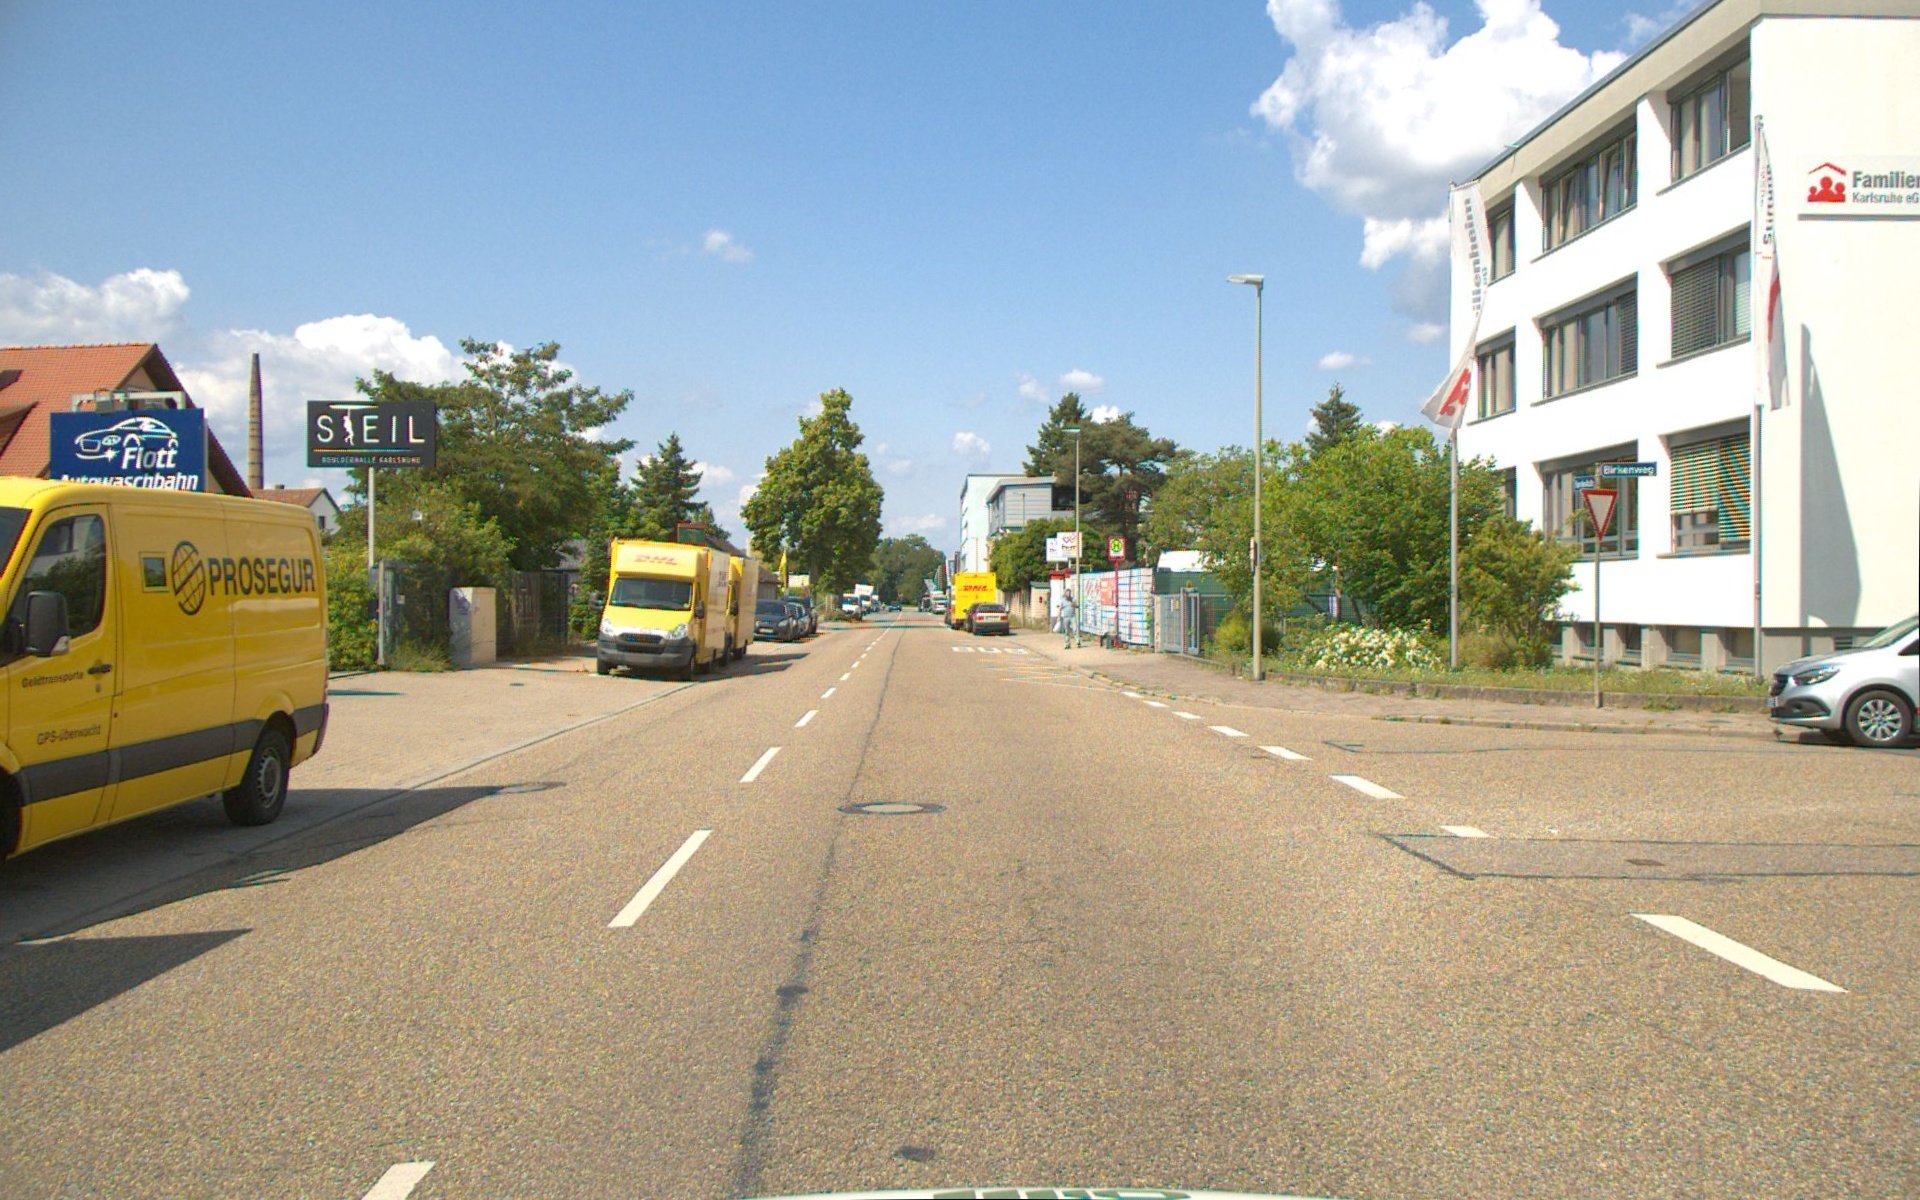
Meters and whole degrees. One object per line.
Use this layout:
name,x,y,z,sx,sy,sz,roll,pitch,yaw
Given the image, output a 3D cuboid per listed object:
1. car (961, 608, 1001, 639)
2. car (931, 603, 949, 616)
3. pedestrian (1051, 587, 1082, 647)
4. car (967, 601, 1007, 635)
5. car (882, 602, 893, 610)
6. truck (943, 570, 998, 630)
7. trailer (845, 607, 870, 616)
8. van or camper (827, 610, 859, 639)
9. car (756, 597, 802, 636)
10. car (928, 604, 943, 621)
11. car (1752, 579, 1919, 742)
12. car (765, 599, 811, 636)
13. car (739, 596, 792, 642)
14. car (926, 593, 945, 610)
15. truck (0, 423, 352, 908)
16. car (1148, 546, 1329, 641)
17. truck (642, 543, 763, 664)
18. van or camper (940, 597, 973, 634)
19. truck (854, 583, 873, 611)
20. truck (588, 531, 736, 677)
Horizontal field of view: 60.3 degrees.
car,0.979,1.122,80.173,1.629,1.466,4.280,0,0,-3
car,-2.215,1.048,179.715,1.889,1.333,3.998,0,0,-2
pedestrian,3.212,0.508,50.003,0.702,1.726,0.522,-5,0,-7
car,1.193,0.801,75.405,1.618,1.411,4.421,1,0,-2
car,-11.262,0.920,255.595,1.621,1.348,4.415,0,0,-2
truck,0.495,0.006,87.165,2.425,2.991,7.184,1,0,-3
trailer,-10.964,1.218,177.101,2.368,0.828,5.535,2,0,-1
van or camper,-10.284,2.144,145.966,2.128,2.455,7.698,0,0,1
car,-7.602,0.677,69.637,1.595,1.473,4.024,4,0,-3
car,-3.014,1.552,204.145,1.673,2.126,3.998,0,0,-2
car,11.515,0.702,18.764,4.302,1.783,1.865,0,-3,16
car,-7.782,0.777,75.107,1.698,1.544,4.740,2,0,-2
car,-7.493,0.710,64.080,1.690,1.632,4.411,3,0,-3
car,-2.899,0.183,193.008,2.171,2.049,5.483,0,0,-2
truck,-5.847,0.335,10.221,1.953,2.456,6.063,0,0,0
car,8.125,-0.170,48.438,4.816,2.698,2.069,0,0,-10
truck,-6.831,0.110,44.721,2.269,2.912,7.101,3,0,-2
van or camper,-0.250,0.997,107.597,1.953,2.331,5.445,2,0,-2
truck,-11.111,-0.334,191.373,1.988,3.209,6.497,0,0,-2
truck,-6.496,0.134,36.937,2.223,2.905,7.170,1,-1,-2
